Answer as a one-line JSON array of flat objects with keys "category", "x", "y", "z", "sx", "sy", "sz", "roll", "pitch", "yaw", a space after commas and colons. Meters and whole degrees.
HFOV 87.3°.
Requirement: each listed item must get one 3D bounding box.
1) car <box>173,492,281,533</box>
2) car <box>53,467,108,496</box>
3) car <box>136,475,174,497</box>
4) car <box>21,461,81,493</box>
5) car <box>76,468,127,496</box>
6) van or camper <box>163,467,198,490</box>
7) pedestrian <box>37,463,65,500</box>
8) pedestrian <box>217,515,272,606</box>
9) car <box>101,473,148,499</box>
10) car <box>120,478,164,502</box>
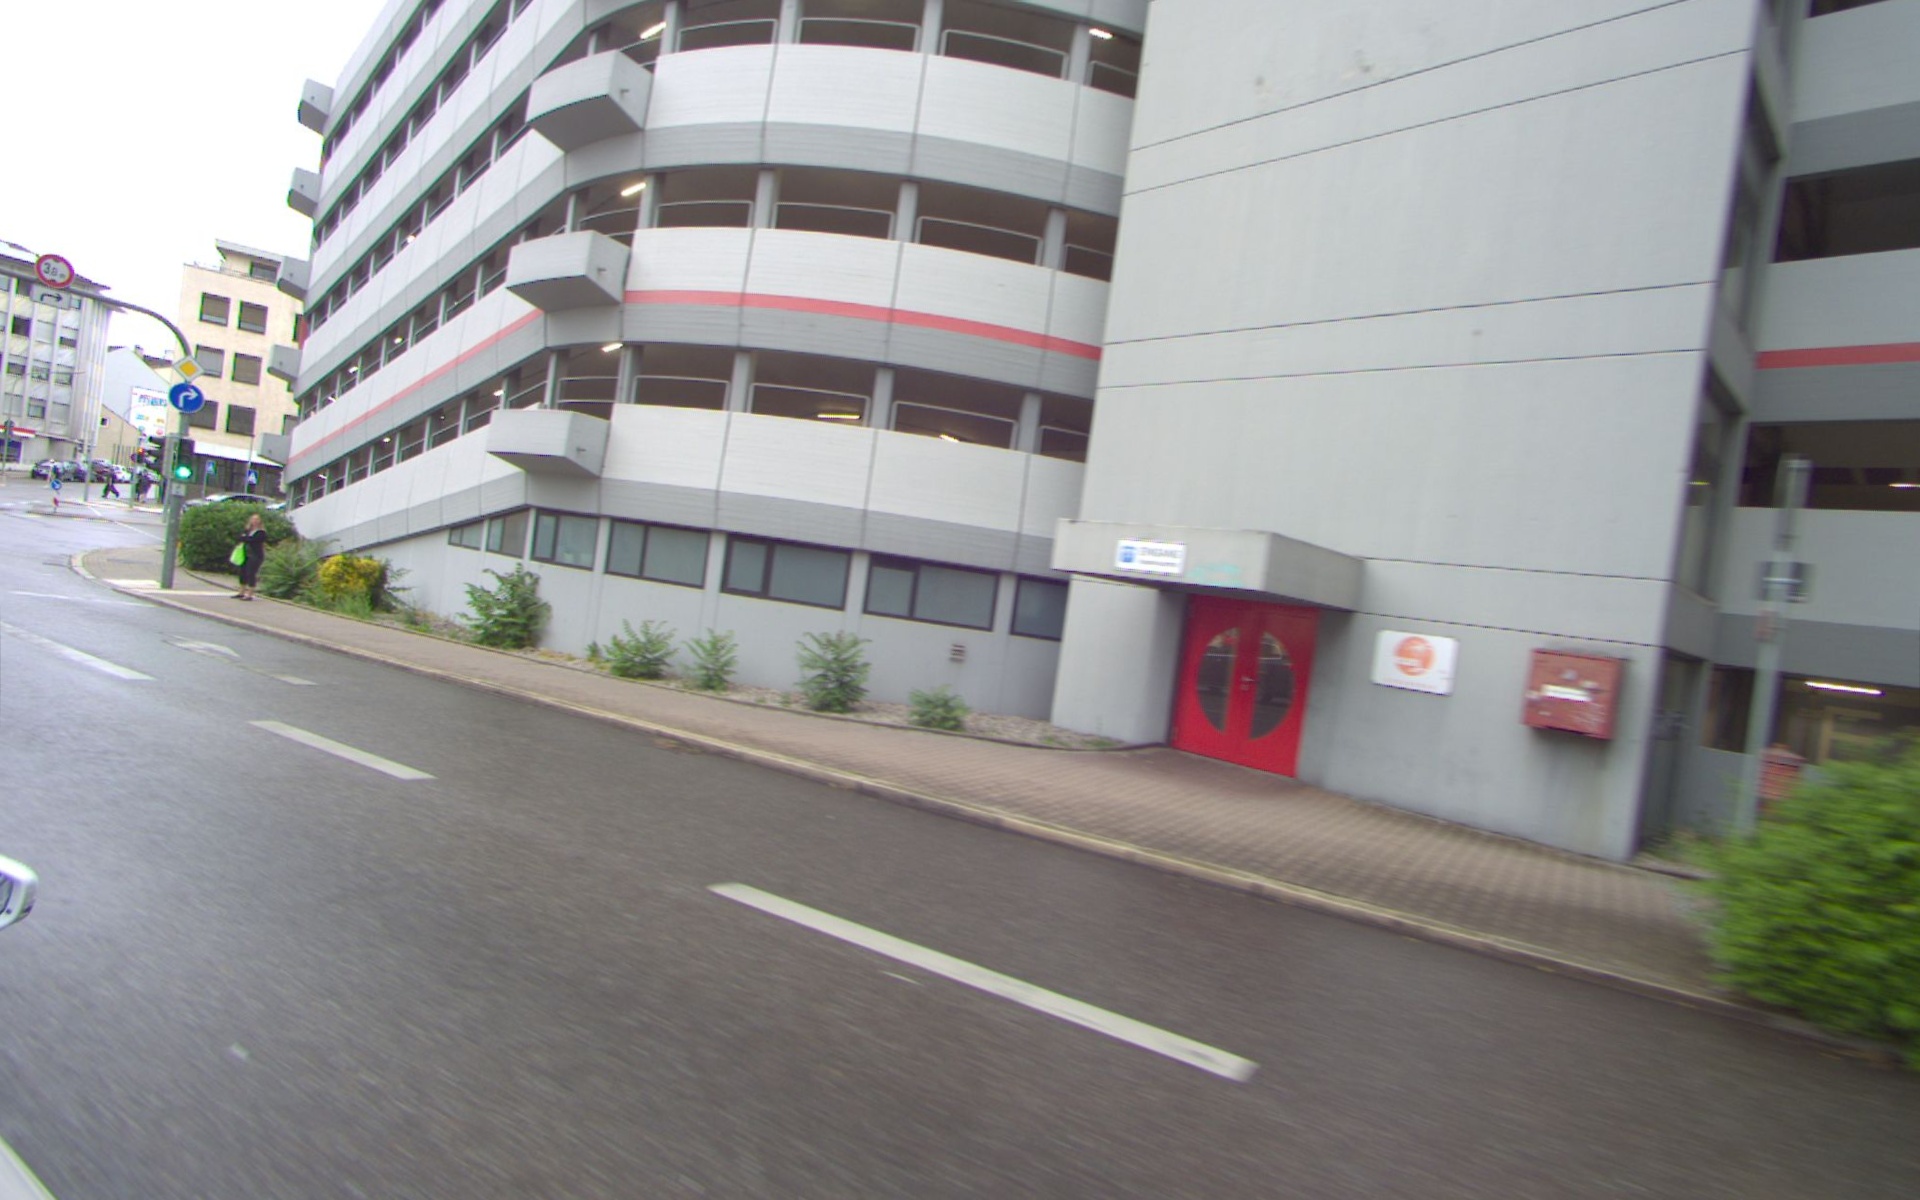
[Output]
[{"category": "car", "x": -38.639, "y": -4.612, "z": 53.118, "sx": 1.831, "sy": 1.457, "sz": 4.181, "roll": 7, "pitch": 0, "yaw": 38}, {"category": "car", "x": -68.111, "y": -9.145, "z": 77.955, "sx": 1.974, "sy": 1.727, "sz": 3.976, "roll": 7, "pitch": 0, "yaw": -24}, {"category": "car", "x": -81.304, "y": -11.488, "z": 101.654, "sx": 1.974, "sy": 1.727, "sz": 3.976, "roll": 7, "pitch": 0, "yaw": -24}, {"category": "car", "x": -66.115, "y": -8.938, "z": 73.243, "sx": 1.974, "sy": 1.727, "sz": 3.976, "roll": 7, "pitch": 0, "yaw": -24}, {"category": "car", "x": -70.205, "y": -9.616, "z": 82.363, "sx": 1.974, "sy": 1.727, "sz": 3.976, "roll": 7, "pitch": 0, "yaw": -24}, {"category": "van or camper", "x": -89.486, "y": -13.892, "z": 115.535, "sx": 1.974, "sy": 2.004, "sz": 4.487, "roll": 7, "pitch": 0, "yaw": -24}, {"category": "pedestrian", "x": -56.122, "y": -7.314, "z": 62.109, "sx": 0.931, "sy": 2.155, "sz": 0.856, "roll": 7, "pitch": 1, "yaw": 26}, {"category": "pedestrian", "x": -14.464, "y": -0.782, "z": 20.350, "sx": 0.638, "sy": 1.730, "sz": 0.469, "roll": 7, "pitch": -2, "yaw": -22}, {"category": "car", "x": -72.715, "y": -9.894, "z": 87.636, "sx": 1.974, "sy": 1.727, "sz": 3.976, "roll": 7, "pitch": 0, "yaw": -24}, {"category": "car", "x": -75.062, "y": -10.069, "z": 92.379, "sx": 1.974, "sy": 1.727, "sz": 3.976, "roll": 7, "pitch": 0, "yaw": -24}]
